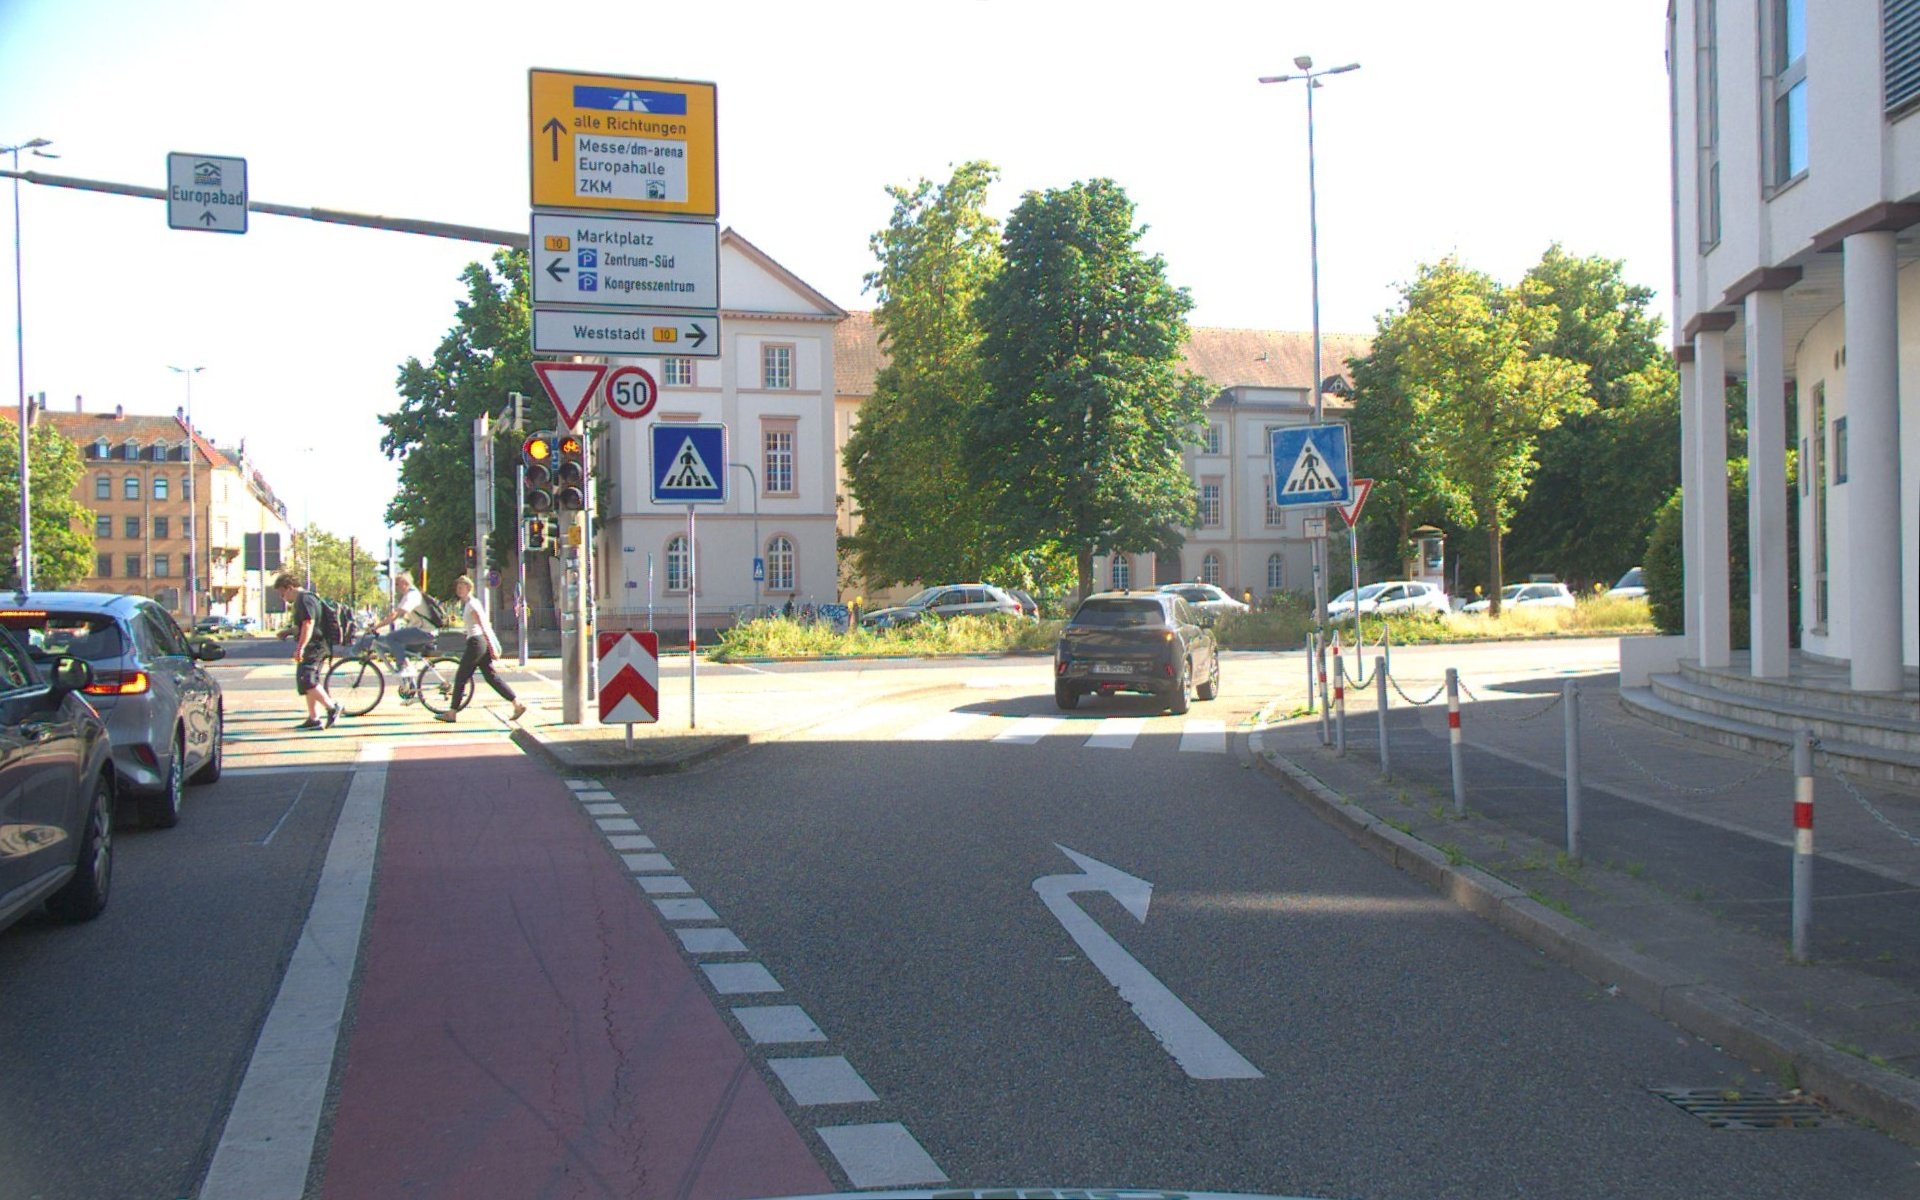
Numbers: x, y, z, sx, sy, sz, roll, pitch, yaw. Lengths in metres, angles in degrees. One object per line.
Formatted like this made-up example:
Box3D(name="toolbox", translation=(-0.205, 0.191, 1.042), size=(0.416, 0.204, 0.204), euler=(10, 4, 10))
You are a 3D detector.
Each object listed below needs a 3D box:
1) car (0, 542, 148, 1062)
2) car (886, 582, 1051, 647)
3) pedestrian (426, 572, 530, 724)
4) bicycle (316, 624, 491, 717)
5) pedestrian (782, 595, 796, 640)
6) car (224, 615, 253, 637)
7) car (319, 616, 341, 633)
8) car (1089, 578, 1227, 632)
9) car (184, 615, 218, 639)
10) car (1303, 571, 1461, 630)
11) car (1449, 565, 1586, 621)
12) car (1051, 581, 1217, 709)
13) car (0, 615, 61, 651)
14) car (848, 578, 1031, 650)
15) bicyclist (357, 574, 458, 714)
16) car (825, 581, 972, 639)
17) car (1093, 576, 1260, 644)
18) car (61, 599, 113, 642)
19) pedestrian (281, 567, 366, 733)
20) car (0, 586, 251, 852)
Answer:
Box3D(name="car", translation=(-4.154, 0.638, 5.804), size=(1.802, 1.606, 3.819), euler=(-1, 0, -19))
Box3D(name="car", translation=(0.238, 0.363, 44.343), size=(4.063, 1.629, 1.807), euler=(-1, 0, -26))
Box3D(name="pedestrian", translation=(-5.583, 0.536, 19.141), size=(1.027, 1.689, 0.778), euler=(-1, 0, -25))
Box3D(name="bicycle", translation=(-6.803, 0.846, 20.231), size=(2.003, 1.079, 0.618), euler=(0, 0, -22))
Box3D(name="pedestrian", translation=(-6.384, 0.649, 61.761), size=(0.433, 1.643, 0.465), euler=(2, -1, -13))
Box3D(name="car", translation=(-58.941, 2.115, 135.141), size=(1.783, 1.662, 3.978), euler=(-1, 0, -19))
Box3D(name="car", translation=(-57.963, 2.227, 152.118), size=(1.785, 1.473, 3.974), euler=(-1, 0, -22))
Box3D(name="car", translation=(6.335, 0.138, 52.947), size=(4.063, 1.629, 1.807), euler=(-1, 0, -26))
Box3D(name="car", translation=(-55.010, 1.948, 119.911), size=(1.783, 1.662, 3.978), euler=(-1, 0, -19))
Box3D(name="car", translation=(11.875, -0.005, 46.556), size=(4.122, 1.534, 1.807), euler=(-1, 0, -26))
Box3D(name="car", translation=(17.881, -0.232, 53.072), size=(3.934, 1.672, 1.909), euler=(-1, 0, -24))
Box3D(name="car", translation=(2.464, 0.553, 22.697), size=(1.708, 1.601, 3.560), euler=(0, 0, 15))
Box3D(name="car", translation=(-40.714, 1.413, 72.256), size=(1.846, 1.473, 3.978), euler=(-1, 0, -19))
Box3D(name="car", translation=(-0.495, 0.311, 40.178), size=(4.063, 1.629, 1.807), euler=(-1, 0, -26))
Box3D(name="bicyclist", translation=(-6.766, 0.522, 20.254), size=(1.148, 1.662, 0.724), euler=(0, 0, -22))
Box3D(name="car", translation=(-1.864, 0.288, 50.082), size=(4.063, 1.629, 1.807), euler=(-1, 0, -26))
Box3D(name="car", translation=(5.695, 0.241, 43.555), size=(3.934, 1.672, 1.909), euler=(-1, 0, -24))
Box3D(name="car", translation=(-45.340, 1.039, 85.963), size=(1.783, 2.172, 3.978), euler=(-1, 0, -19))
Box3D(name="pedestrian", translation=(-6.884, 0.522, 17.867), size=(0.815, 1.731, 0.911), euler=(0, 0, -24))
Box3D(name="car", translation=(-5.978, 0.673, 11.200), size=(1.802, 1.478, 3.966), euler=(-1, 0, -19))
